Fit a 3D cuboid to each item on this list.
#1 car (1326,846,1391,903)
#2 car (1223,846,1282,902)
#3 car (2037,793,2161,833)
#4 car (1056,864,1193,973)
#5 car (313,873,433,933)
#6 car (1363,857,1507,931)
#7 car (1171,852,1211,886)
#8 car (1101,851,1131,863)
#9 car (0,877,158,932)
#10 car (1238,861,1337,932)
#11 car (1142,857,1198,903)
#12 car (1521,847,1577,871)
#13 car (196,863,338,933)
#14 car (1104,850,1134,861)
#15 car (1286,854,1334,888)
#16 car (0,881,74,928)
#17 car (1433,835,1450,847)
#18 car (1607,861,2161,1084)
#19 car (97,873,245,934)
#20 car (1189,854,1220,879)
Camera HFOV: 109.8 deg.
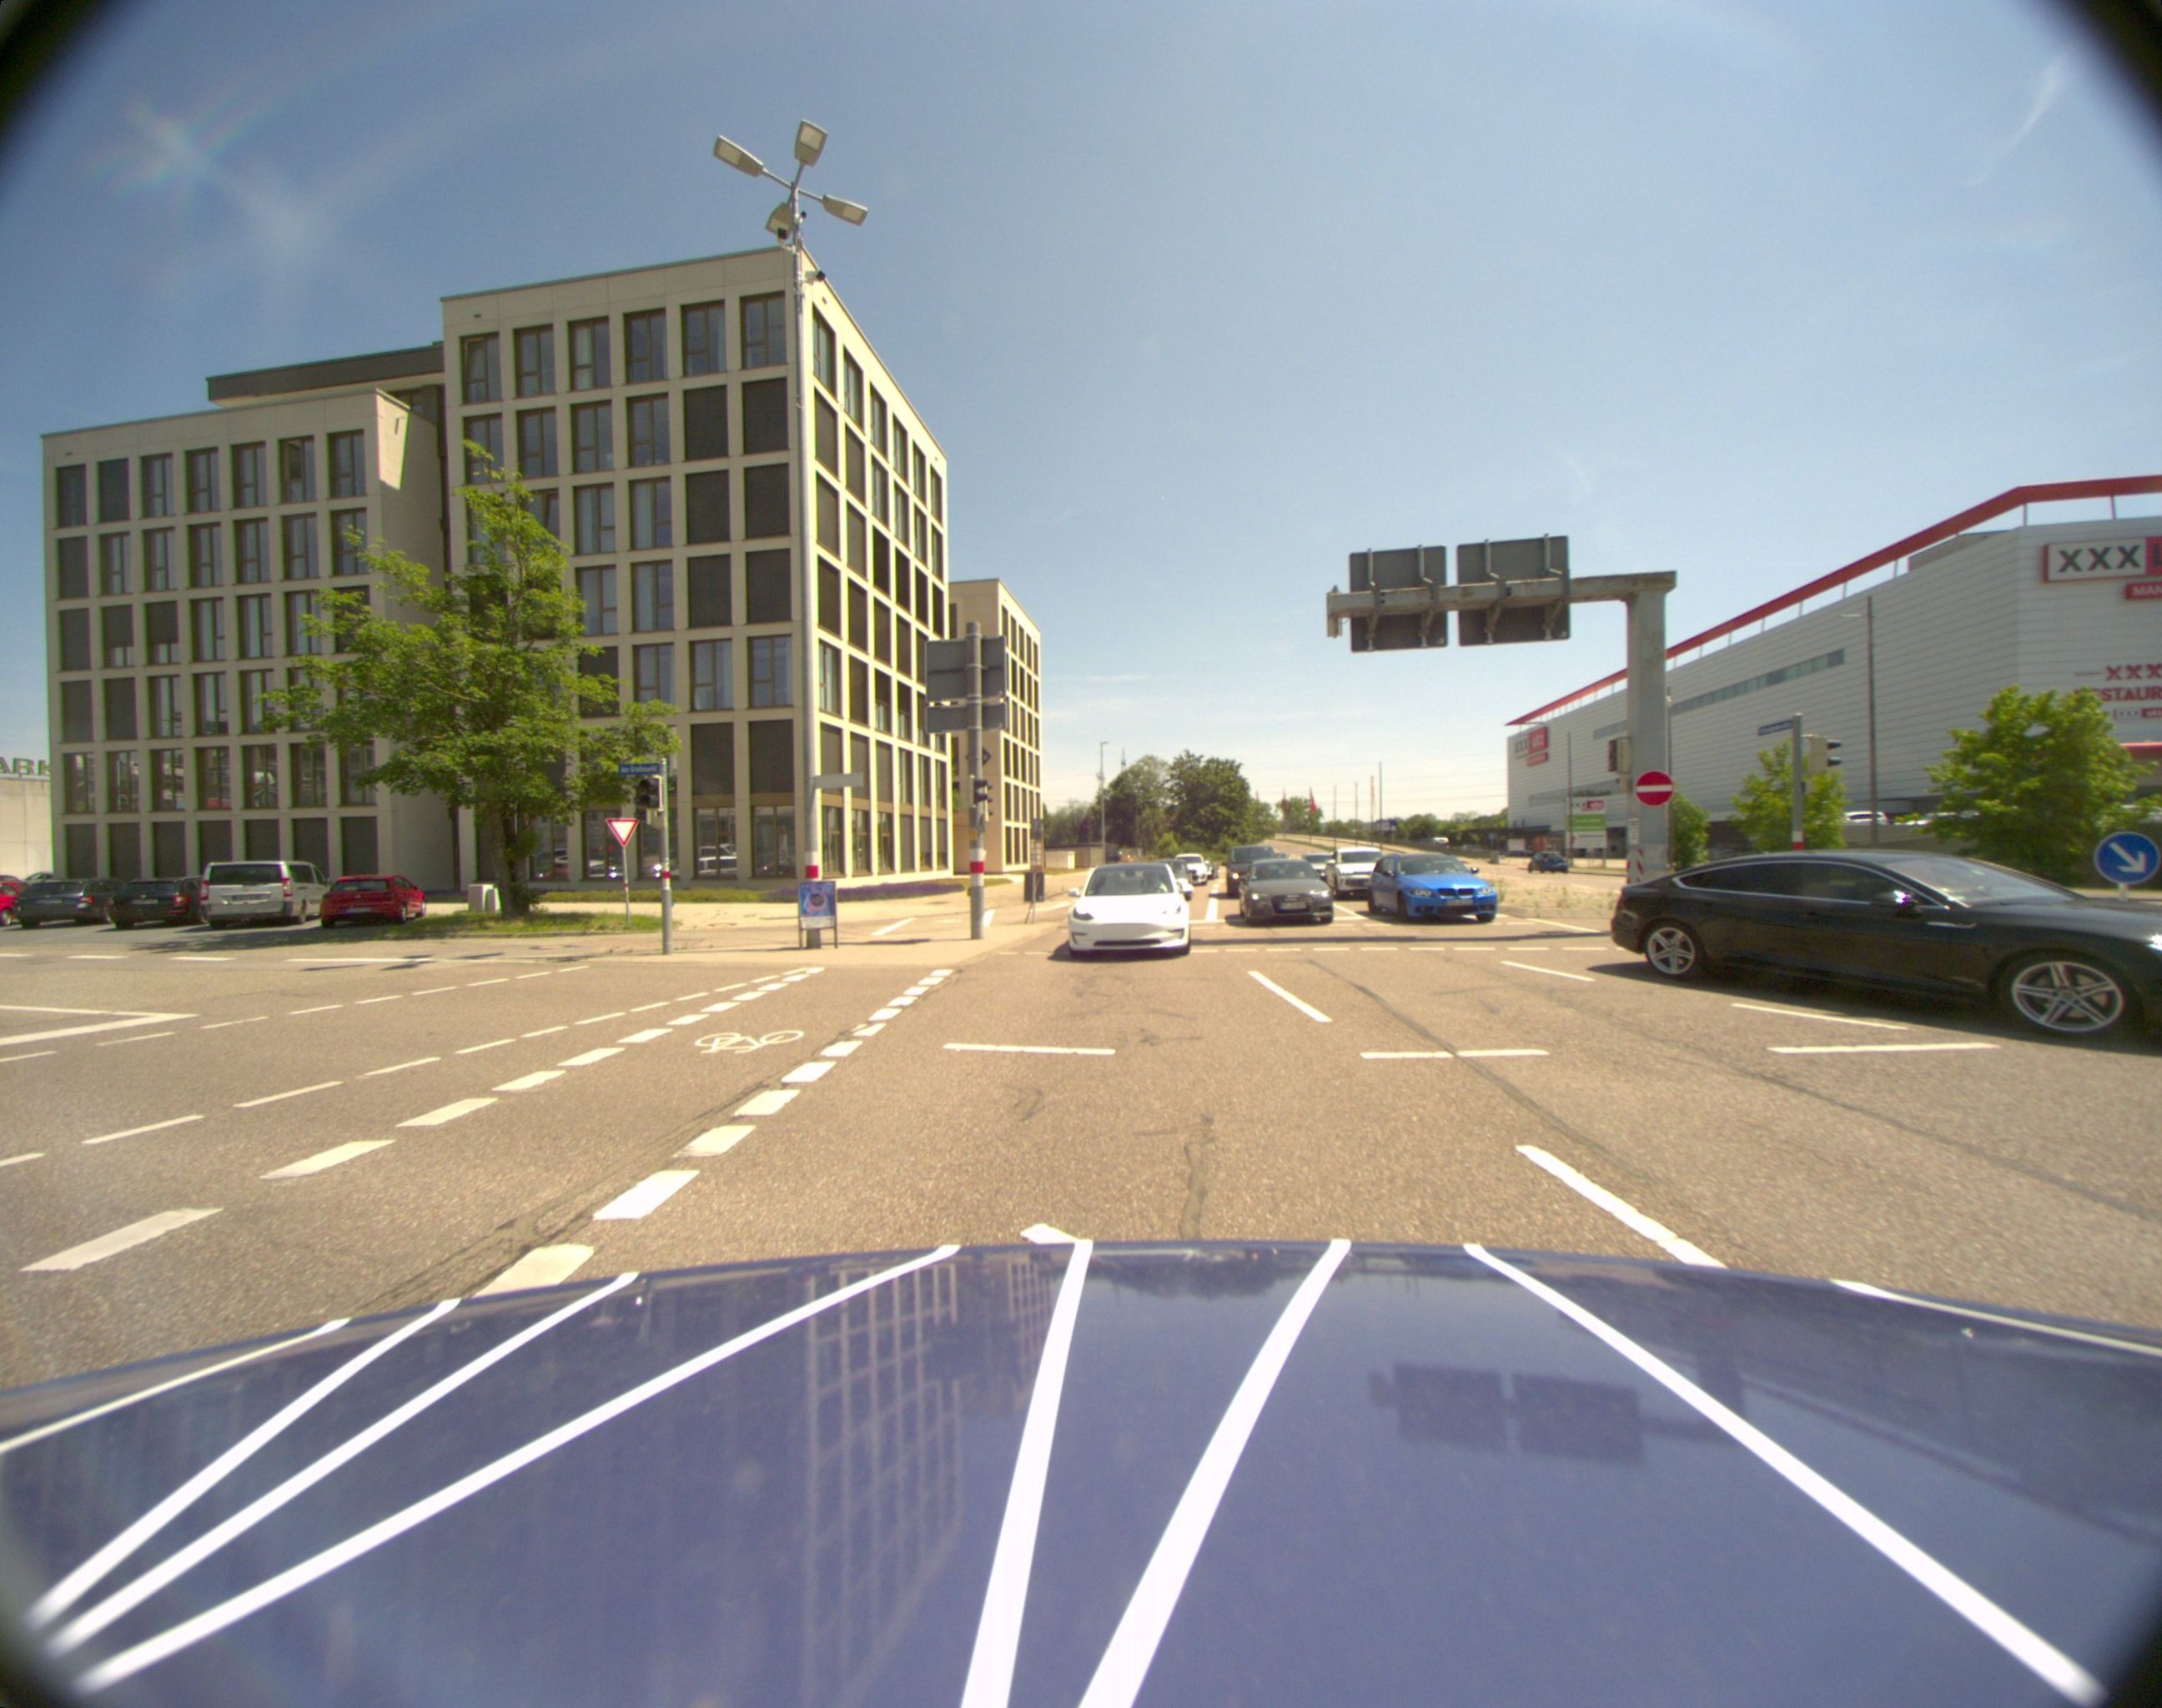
[{"bbox_3d":[8.976,0.610,24.890,1.767,1.631,4.497,-3,0,18],"label":"car"},{"bbox_3d":[6.416,0.663,28.192,1.894,1.810,4.841,-2,0,14],"label":"car"},{"bbox_3d":[56.611,-2.236,42.099,4.466,2.002,1.680,-1,1,13],"label":"car"},{"bbox_3d":[0.924,0.965,13.039,1.822,1.427,4.287,-3,0,9],"label":"car"},{"bbox_3d":[-20.980,1.383,22.709,1.702,1.424,3.990,-2,2,-30],"label":"car"},{"bbox_3d":[7.561,0.779,16.700,1.768,1.394,4.435,-1,0,10],"label":"car"},{"bbox_3d":[5.793,0.746,39.726,1.776,1.600,3.824,-1,1,13],"label":"car"},{"bbox_3d":[4.700,0.349,102.305,3.831,1.543,1.737,-1,0,-4],"label":"car"},{"bbox_3d":[-31.930,1.529,24.348,1.923,1.431,3.990,-3,1,-35],"label":"car"},{"bbox_3d":[4.509,0.879,17.129,1.768,1.374,4.093,-1,-1,10],"label":"car"},{"bbox_3d":[3.294,0.898,27.619,1.555,1.528,3.824,-1,0,13],"label":"car"},{"bbox_3d":[32.931,0.306,53.590,1.997,1.586,4.003,-1,0,10],"label":"car"},{"bbox_3d":[-24.670,1.245,23.245,1.923,1.875,4.920,-1,0,-35],"label":"car"},{"bbox_3d":[5.230,0.186,104.341,3.831,1.386,1.737,-1,0,-4],"label":"car"},{"bbox_3d":[10.573,0.748,34.868,1.767,1.414,3.905,-3,-1,21],"label":"car"},{"bbox_3d":[-35.123,1.621,24.565,1.923,1.345,3.990,-1,0,-35],"label":"car"},{"bbox_3d":[75.592,-2.717,159.582,2.190,2.270,4.818,-1,0,12],"label":"car"},{"bbox_3d":[7.473,0.792,6.919,1.677,1.396,4.462,-1,0,-12],"label":"car"},{"bbox_3d":[-27.961,1.448,23.523,1.923,1.580,3.990,-1,0,-35],"label":"car"},{"bbox_3d":[7.682,0.765,47.026,1.768,1.395,3.954,-1,1,11],"label":"car"}]
